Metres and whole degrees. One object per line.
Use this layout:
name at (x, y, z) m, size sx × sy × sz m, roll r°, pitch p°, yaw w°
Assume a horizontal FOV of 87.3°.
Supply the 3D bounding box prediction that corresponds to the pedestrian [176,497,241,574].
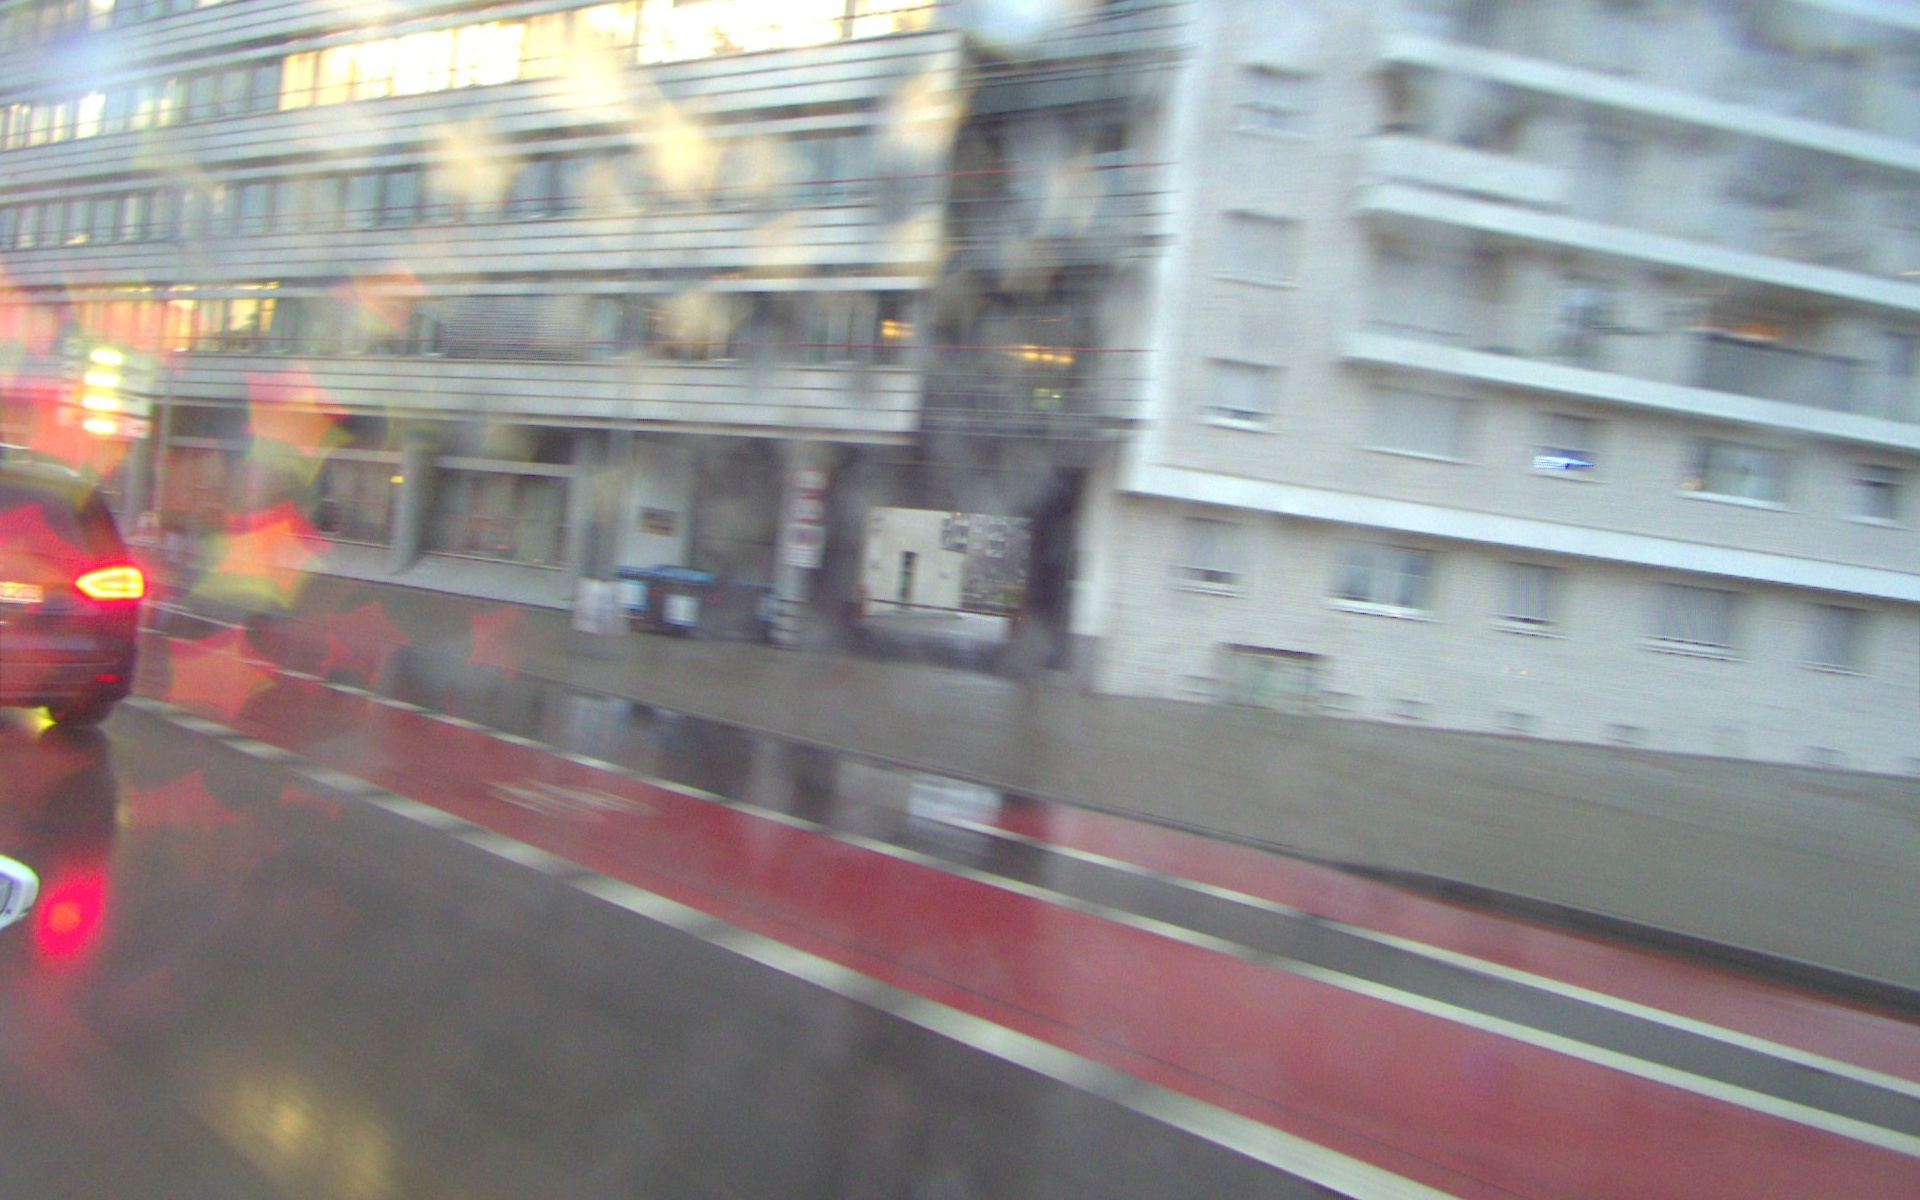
pedestrian at (-18.288, -1.569, 24.481) m, size 1.051 × 1.707 × 0.794 m, roll 7°, pitch 1°, yaw 31°

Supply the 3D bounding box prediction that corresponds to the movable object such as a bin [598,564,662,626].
movable object such as a bin at (-7.547, -0.108, 23.030) m, size 0.994 × 1.311 × 0.867 m, roll 7°, pitch 2°, yaw 21°

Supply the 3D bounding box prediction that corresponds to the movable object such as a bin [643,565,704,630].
movable object such as a bin at (-6.741, -0.050, 23.690) m, size 1.060 × 1.401 × 0.730 m, roll 7°, pitch 3°, yaw 21°

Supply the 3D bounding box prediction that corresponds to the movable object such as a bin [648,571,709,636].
movable object such as a bin at (-6.262, 0.083, 22.397) m, size 0.946 × 1.322 × 0.730 m, roll 7°, pitch 3°, yaw 21°

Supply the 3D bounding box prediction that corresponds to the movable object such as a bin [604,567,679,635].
movable object such as a bin at (-6.797, 0.017, 21.483) m, size 1.147 × 1.311 × 0.846 m, roll 7°, pitch 2°, yaw 21°

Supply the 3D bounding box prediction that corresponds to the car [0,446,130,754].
car at (-7.418, -0.207, 6.687) m, size 3.935 × 1.800 × 1.676 m, roll 7°, pitch -1°, yaw 33°

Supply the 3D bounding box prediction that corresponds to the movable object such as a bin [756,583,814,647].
movable object such as a bin at (-3.914, 0.326, 22.545) m, size 0.946 × 1.322 × 0.730 m, roll 7°, pitch 3°, yaw 21°

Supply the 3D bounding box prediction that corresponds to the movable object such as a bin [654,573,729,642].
movable object such as a bin at (-5.632, 0.159, 21.092) m, size 1.147 × 1.311 × 0.846 m, roll 7°, pitch 2°, yaw 21°

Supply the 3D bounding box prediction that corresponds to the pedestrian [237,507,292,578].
pedestrian at (-17.493, -1.449, 25.304) m, size 0.887 × 1.645 × 0.727 m, roll 7°, pitch 1°, yaw 31°

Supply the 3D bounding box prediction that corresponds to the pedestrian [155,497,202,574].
pedestrian at (-18.441, -1.516, 23.747) m, size 0.732 × 1.704 × 0.531 m, roll 7°, pitch 1°, yaw 31°
